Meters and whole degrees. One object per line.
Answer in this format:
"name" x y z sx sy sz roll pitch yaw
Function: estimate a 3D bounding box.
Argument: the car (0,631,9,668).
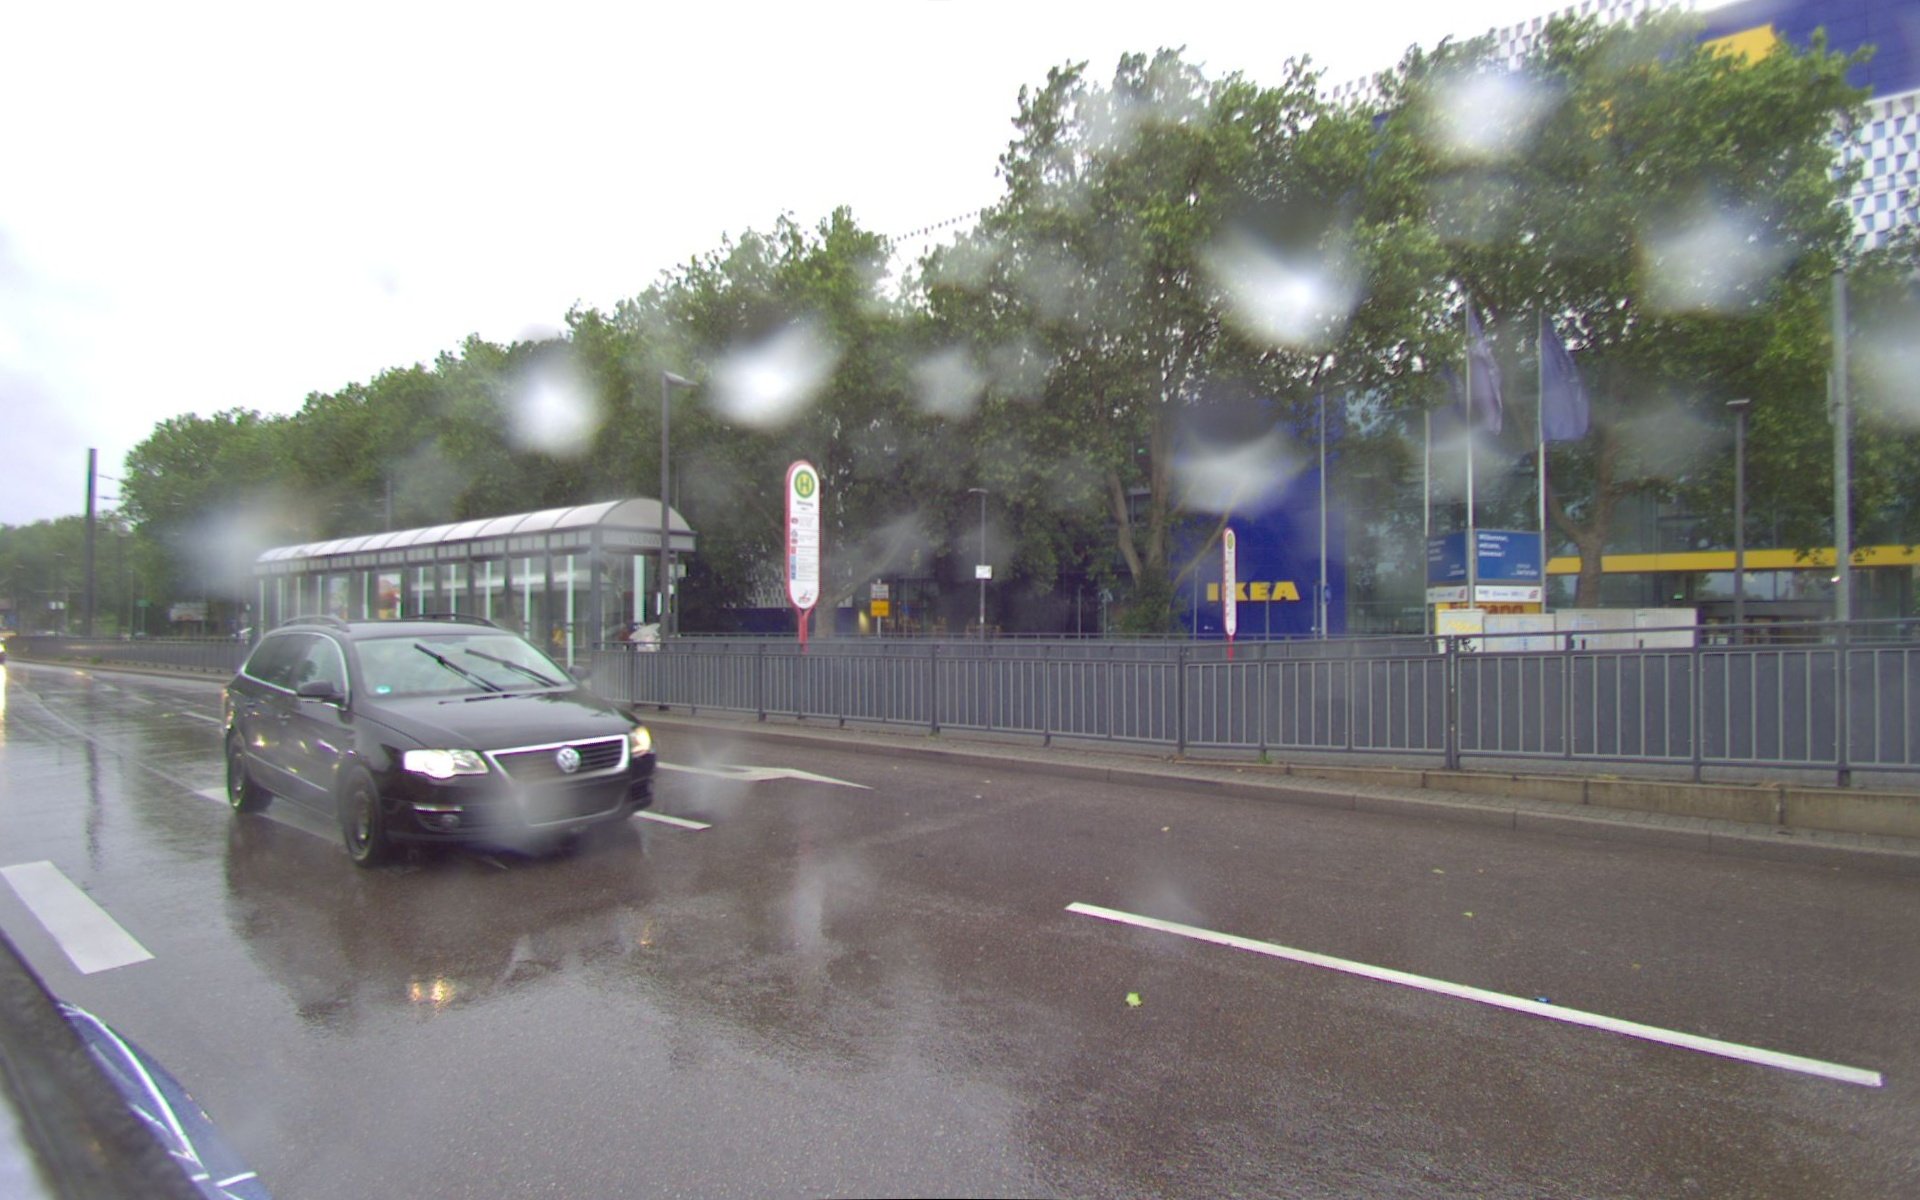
"car" -44.579 2.231 45.802 3.997 1.618 1.771 -1 0 40

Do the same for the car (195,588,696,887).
"car" -3.962 0.713 7.345 4.596 1.512 1.752 -1 0 43

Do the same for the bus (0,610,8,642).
"bus" -110.353 2.894 112.525 15.015 3.354 2.908 -1 0 32
